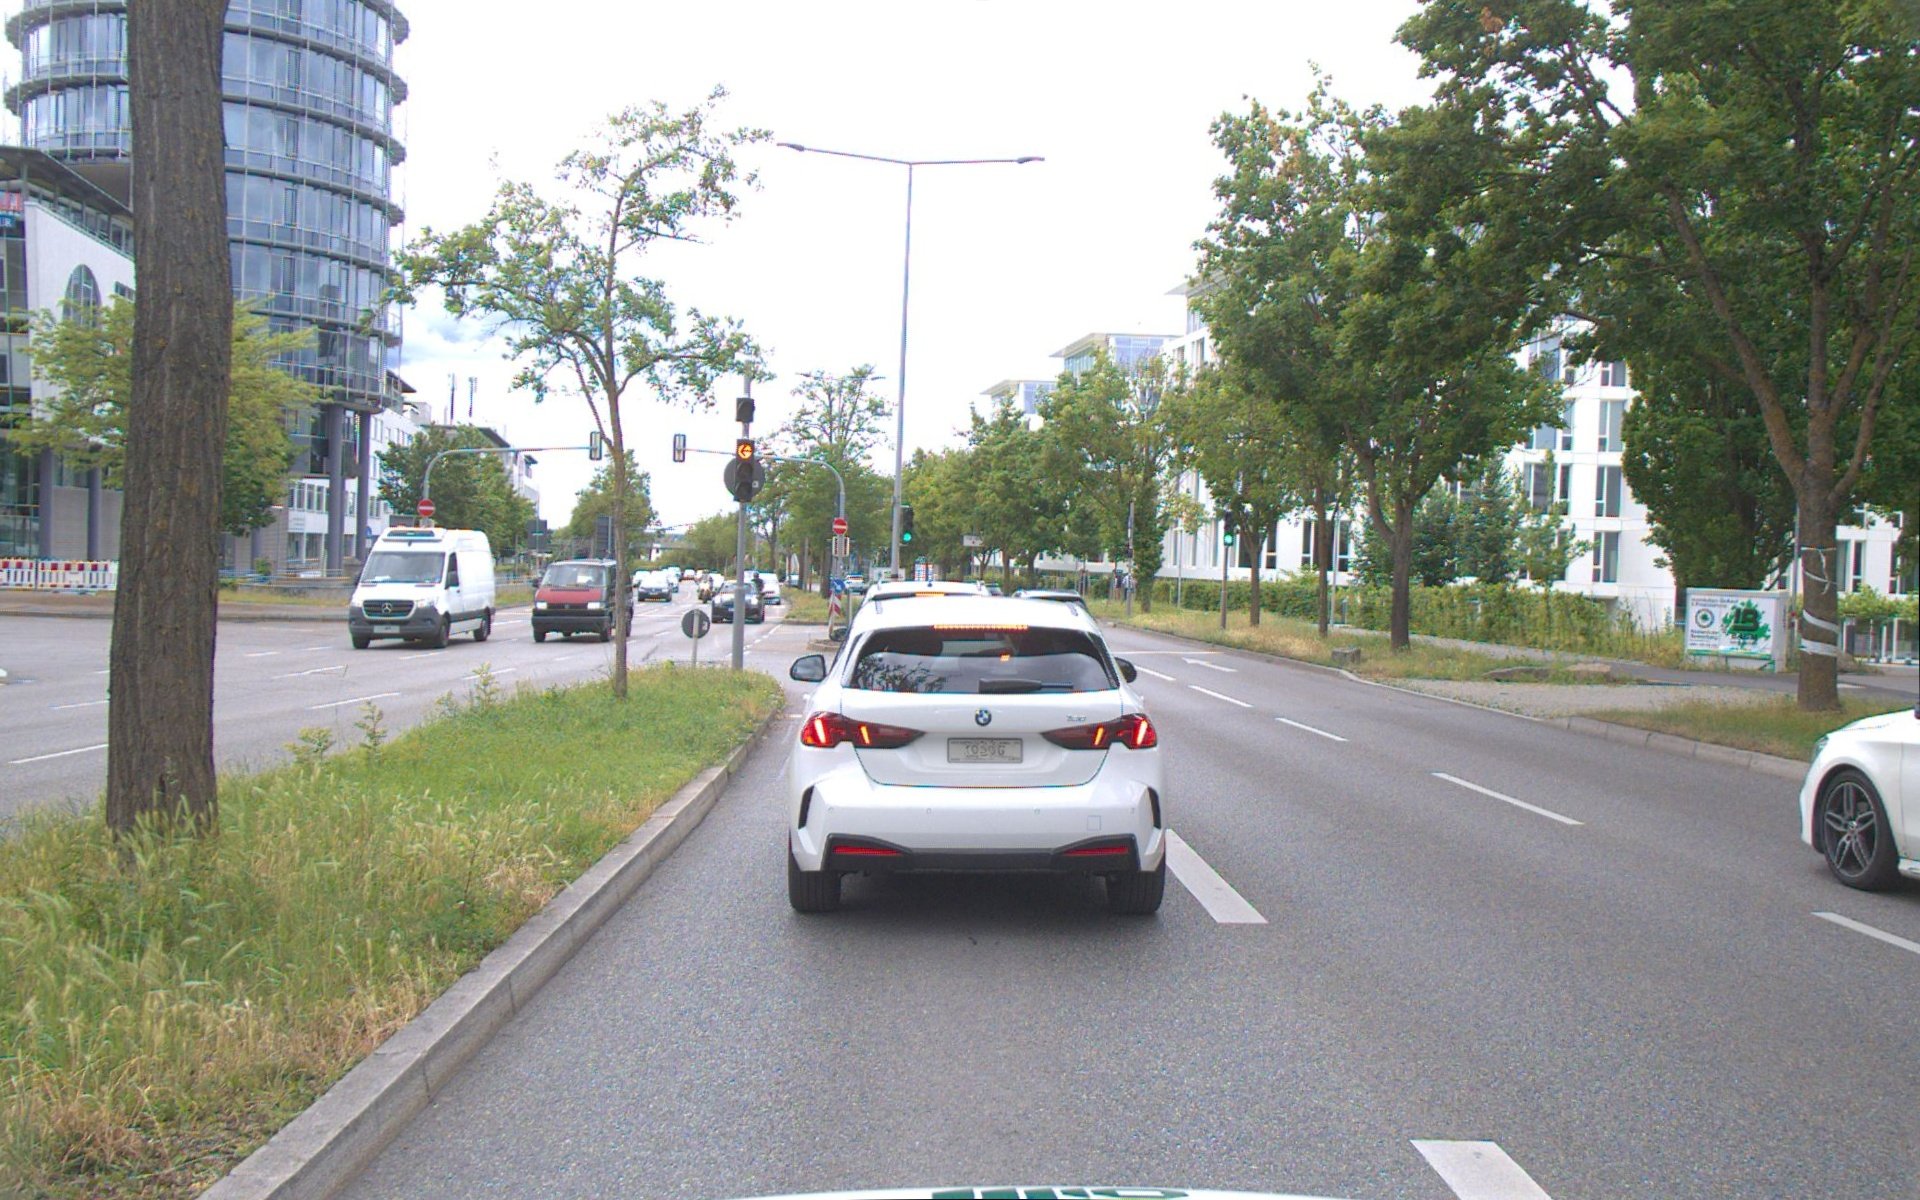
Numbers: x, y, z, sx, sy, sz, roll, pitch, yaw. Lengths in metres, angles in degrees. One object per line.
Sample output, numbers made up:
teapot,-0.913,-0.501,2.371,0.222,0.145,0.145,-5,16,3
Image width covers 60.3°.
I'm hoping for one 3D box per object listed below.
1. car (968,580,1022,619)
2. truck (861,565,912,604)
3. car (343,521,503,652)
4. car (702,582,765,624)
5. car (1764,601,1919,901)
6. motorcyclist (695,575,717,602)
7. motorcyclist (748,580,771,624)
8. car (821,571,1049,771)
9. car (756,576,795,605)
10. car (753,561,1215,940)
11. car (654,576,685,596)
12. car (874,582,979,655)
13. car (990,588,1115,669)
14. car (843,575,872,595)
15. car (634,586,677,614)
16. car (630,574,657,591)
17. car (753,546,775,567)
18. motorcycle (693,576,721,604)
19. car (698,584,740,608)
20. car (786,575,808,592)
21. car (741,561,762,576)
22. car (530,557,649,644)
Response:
car,1.517,-0.040,73.476,1.955,1.624,3.996,2,0,-5
truck,-5.166,-1.078,115.581,2.807,2.563,6.274,2,0,-9
car,-12.172,-0.313,37.923,1.954,2.679,5.871,3,0,-4
car,-7.796,0.100,57.196,1.718,1.395,3.779,1,0,-1
car,5.717,0.779,7.448,1.758,1.498,4.697,2,0,-2
motorcyclist,-13.499,-0.597,88.033,0.891,1.416,1.673,1,0,-1
motorcyclist,-8.682,0.068,71.660,0.831,1.869,1.259,1,0,-1
car,-0.216,0.625,16.470,1.953,1.701,4.000,2,0,0
car,-9.863,-0.518,88.600,1.673,1.523,3.802,0,0,-1
car,0.148,0.609,8.660,1.824,1.474,4.001,2,0,1
car,-21.512,-1.001,122.398,1.673,1.443,3.802,1,0,-1
car,-0.704,0.404,37.831,1.951,1.534,4.002,2,0,5
car,1.777,0.508,33.410,2.012,1.512,4.970,0,0,-3
car,-8.317,-1.244,133.902,1.956,1.534,3.993,1,0,-8
car,-16.631,-0.015,90.541,1.673,1.443,3.802,1,0,-1
car,-27.504,-1.497,143.723,1.673,1.443,3.802,1,0,-1
car,-20.674,-4.606,174.610,1.954,2.045,4.321,3,0,-4
motorcycle,-13.495,-0.536,88.283,0.871,1.422,3.999,1,0,-1
car,-14.374,-0.257,98.763,1.953,1.378,3.999,1,0,-1
car,-15.975,-1.613,161.995,1.954,1.516,3.997,2,0,-3
car,-24.164,-3.643,191.592,1.953,1.646,3.999,3,0,-1
car,-9.191,-0.052,41.401,1.896,1.951,4.973,2,2,-1
